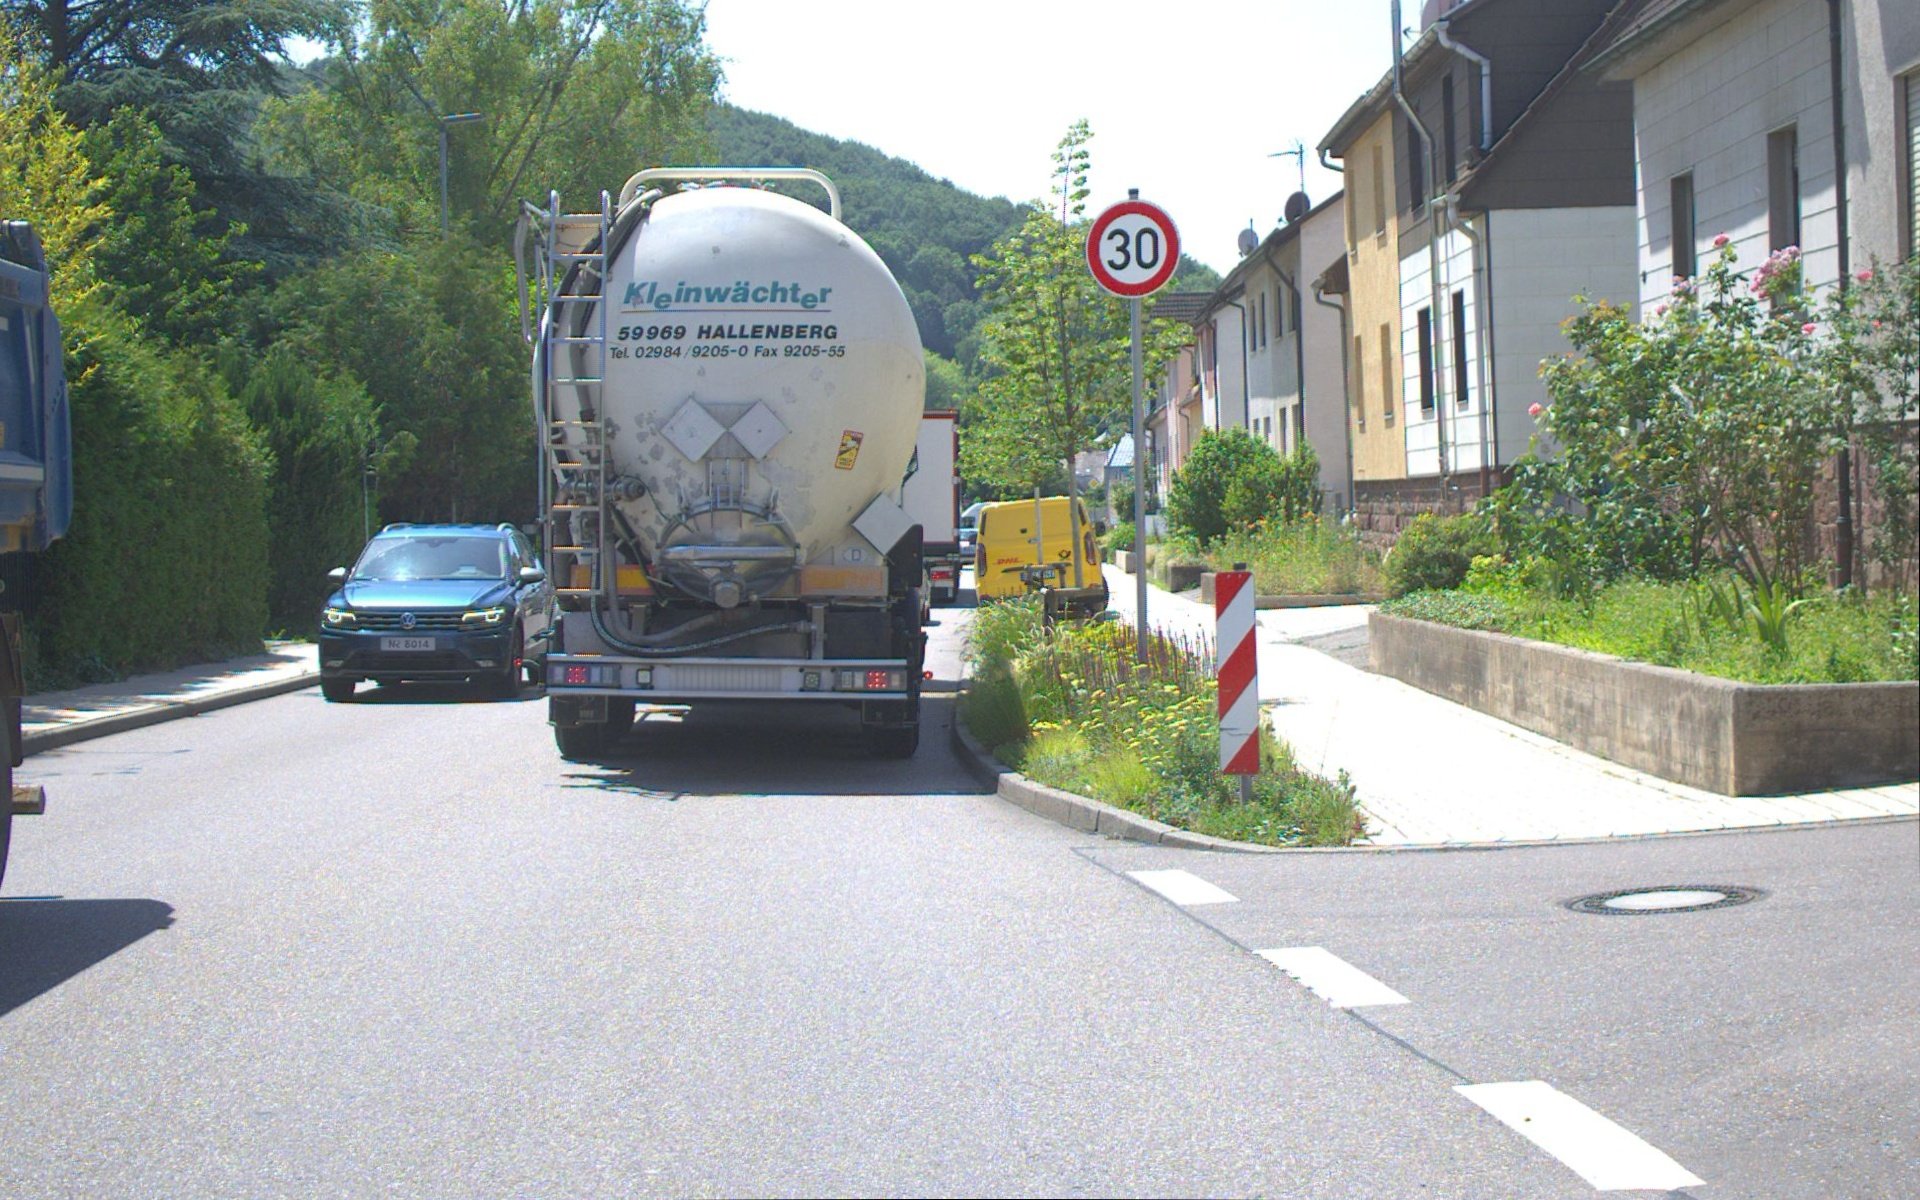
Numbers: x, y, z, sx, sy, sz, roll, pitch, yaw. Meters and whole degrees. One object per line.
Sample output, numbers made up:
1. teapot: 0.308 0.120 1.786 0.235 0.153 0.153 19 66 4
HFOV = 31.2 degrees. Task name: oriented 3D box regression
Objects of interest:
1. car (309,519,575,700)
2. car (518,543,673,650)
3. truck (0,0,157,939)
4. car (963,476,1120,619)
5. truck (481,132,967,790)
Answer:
1. car: -4.967 0.066 33.571 1.888 1.639 4.613 0 1 0
2. car: -4.958 -0.065 47.249 1.766 1.397 4.248 0 1 -1
3. truck: -4.935 -0.527 10.463 2.542 3.725 8.621 -2 1 2
4. car: 1.254 -0.830 55.668 2.189 2.007 5.623 -5 1 0
5. truck: -1.447 -0.995 26.673 2.750 4.043 10.890 0 1 1
